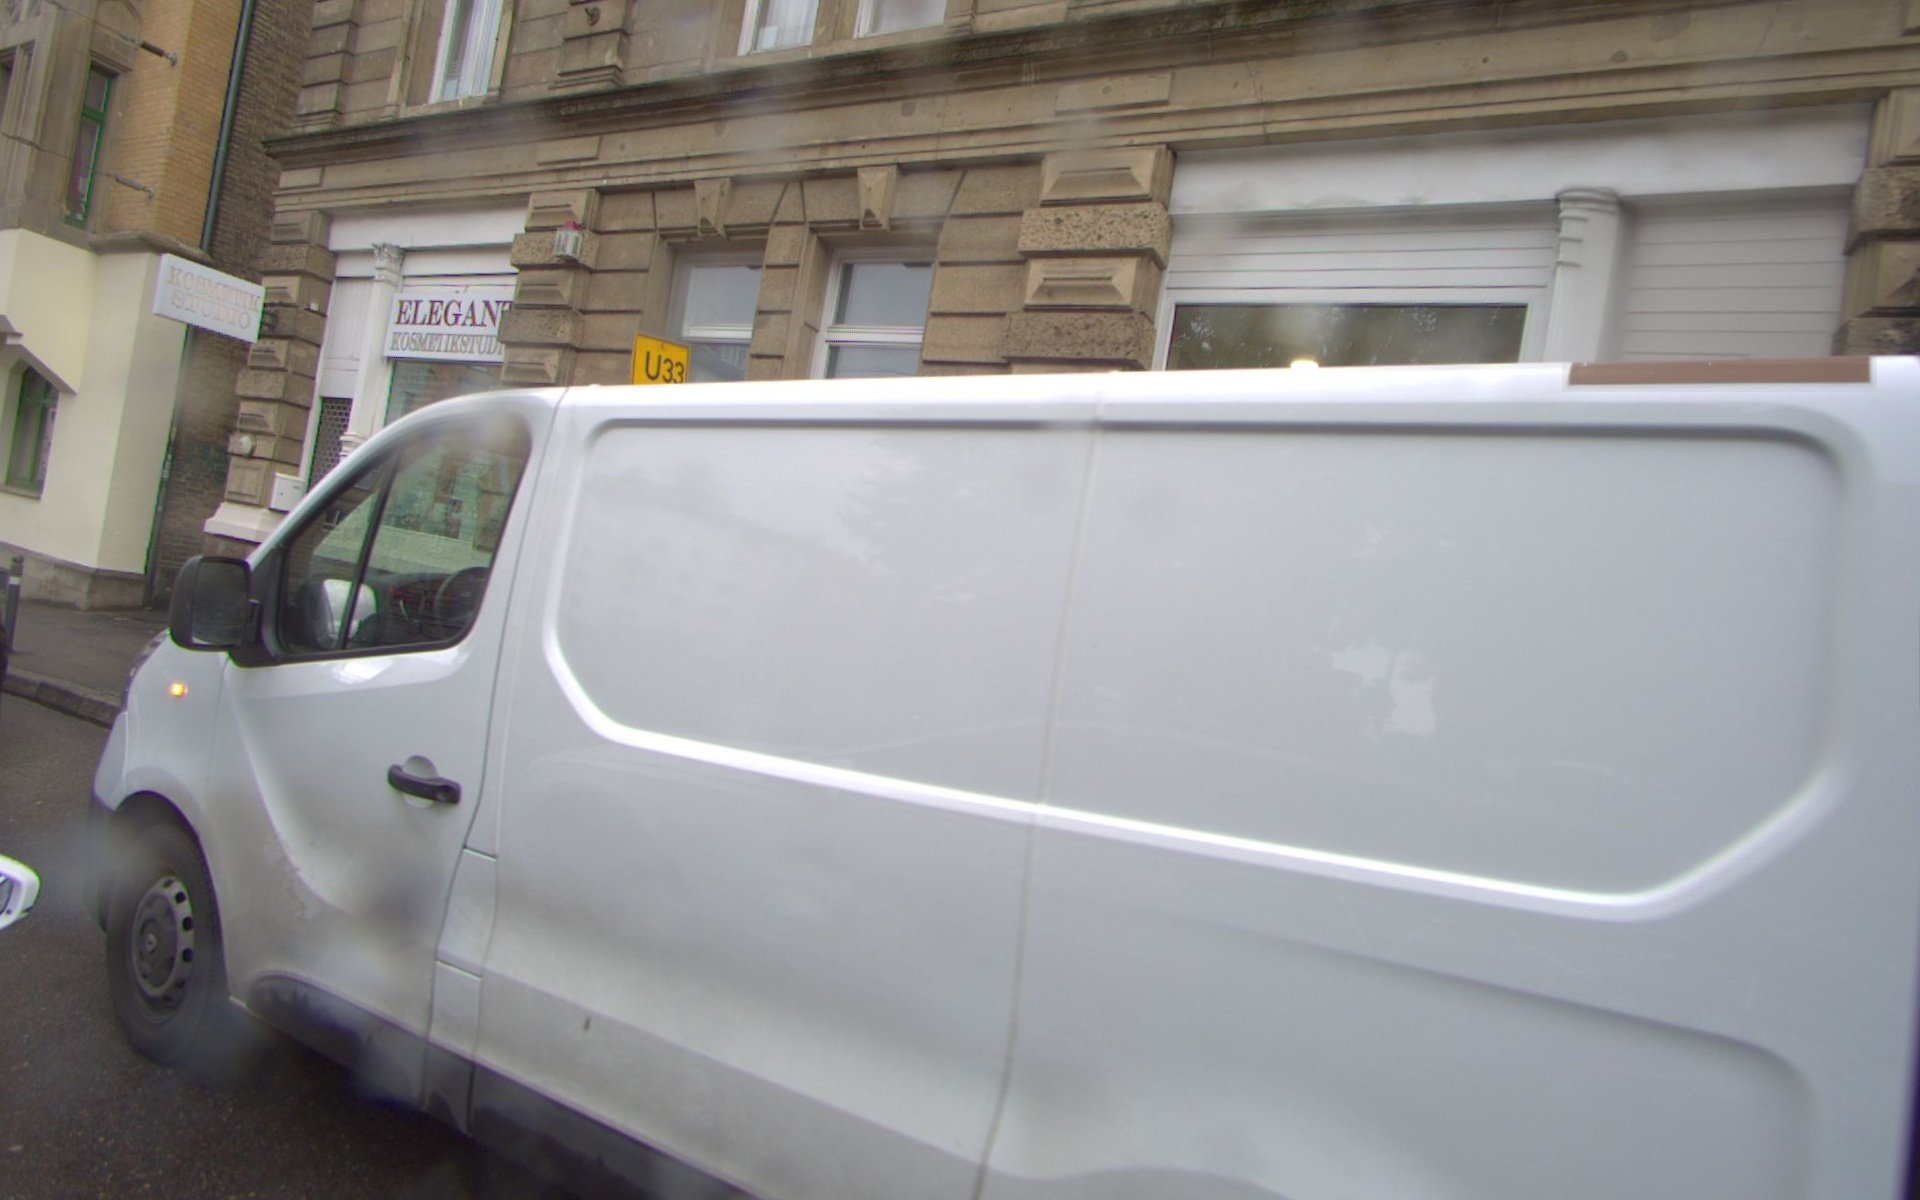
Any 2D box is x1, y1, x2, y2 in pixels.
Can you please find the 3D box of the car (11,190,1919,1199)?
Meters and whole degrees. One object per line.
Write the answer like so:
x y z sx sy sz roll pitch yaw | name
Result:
-0.313 0.472 2.781 4.605 1.958 1.926 6 -2 30 | car

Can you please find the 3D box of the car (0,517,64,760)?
-7.609 -0.019 6.487 3.939 1.406 1.896 6 -3 37 | car
